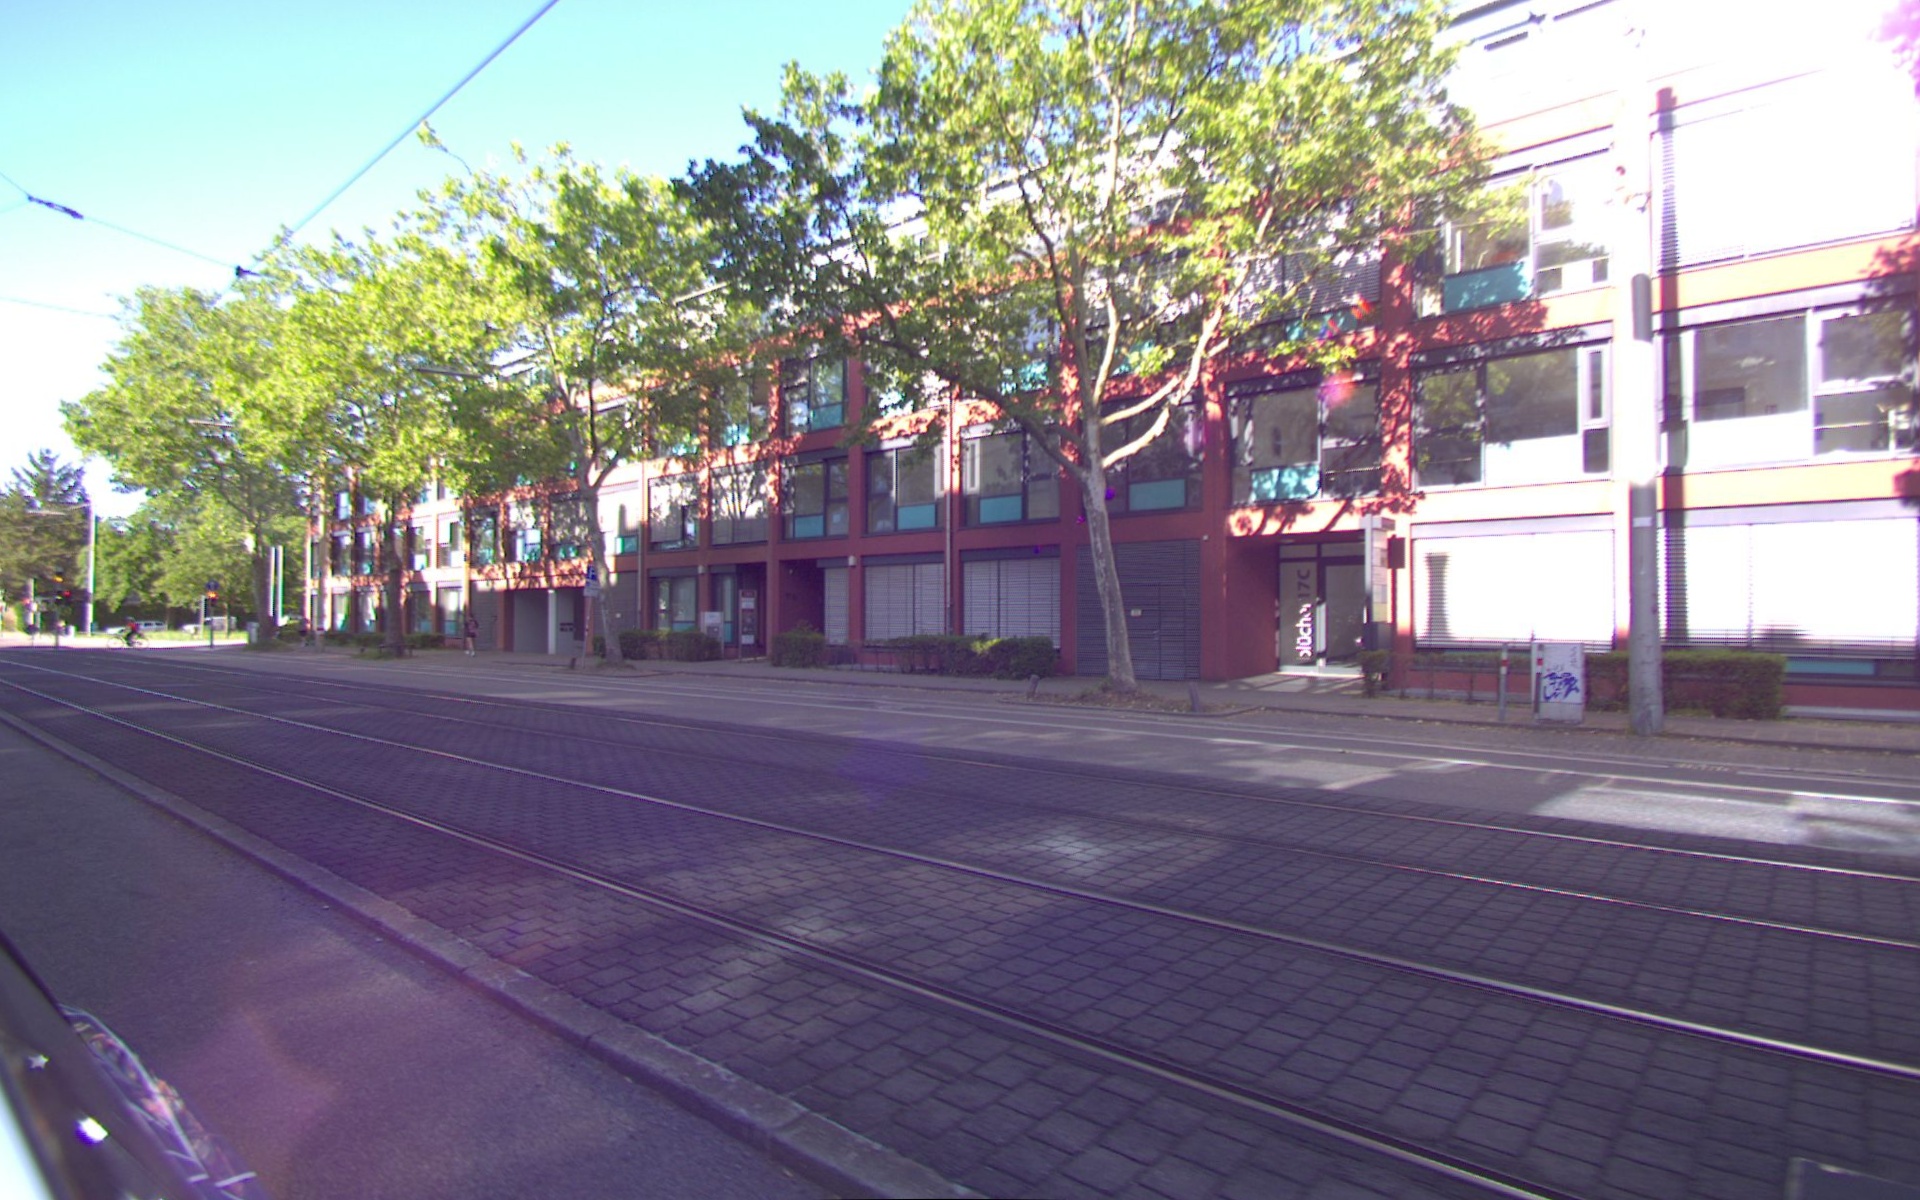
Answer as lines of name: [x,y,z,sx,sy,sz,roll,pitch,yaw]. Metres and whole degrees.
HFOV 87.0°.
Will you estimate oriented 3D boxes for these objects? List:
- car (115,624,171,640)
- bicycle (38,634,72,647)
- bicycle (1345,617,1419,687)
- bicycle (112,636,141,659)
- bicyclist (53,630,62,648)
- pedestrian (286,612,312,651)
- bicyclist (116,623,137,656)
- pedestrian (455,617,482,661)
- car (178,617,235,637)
car: [-76.274,3.007,94.479,3.940,1.444,1.818,1,-2,-43]
bicycle: [-80.919,3.635,90.476,2.251,1.126,0.931,1,-2,-41]
bicycle: [8.518,1.023,20.385,0.619,1.282,2.038,-2,0,45]
bicycle: [-44.276,2.519,53.783,0.622,1.138,2.042,-1,-1,-24]
bicyclist: [-80.764,3.501,90.587,0.551,1.635,0.899,1,-2,-41]
pedestrian: [-35.382,1.689,54.164,0.778,2.029,0.903,-2,0,32]
bicyclist: [-44.293,2.072,53.800,0.596,1.705,0.935,-2,0,-24]
pedestrian: [-19.874,1.587,40.916,0.900,1.731,0.619,-2,0,40]
car: [-74.657,2.656,100.274,1.817,1.881,4.254,-2,-2,43]
